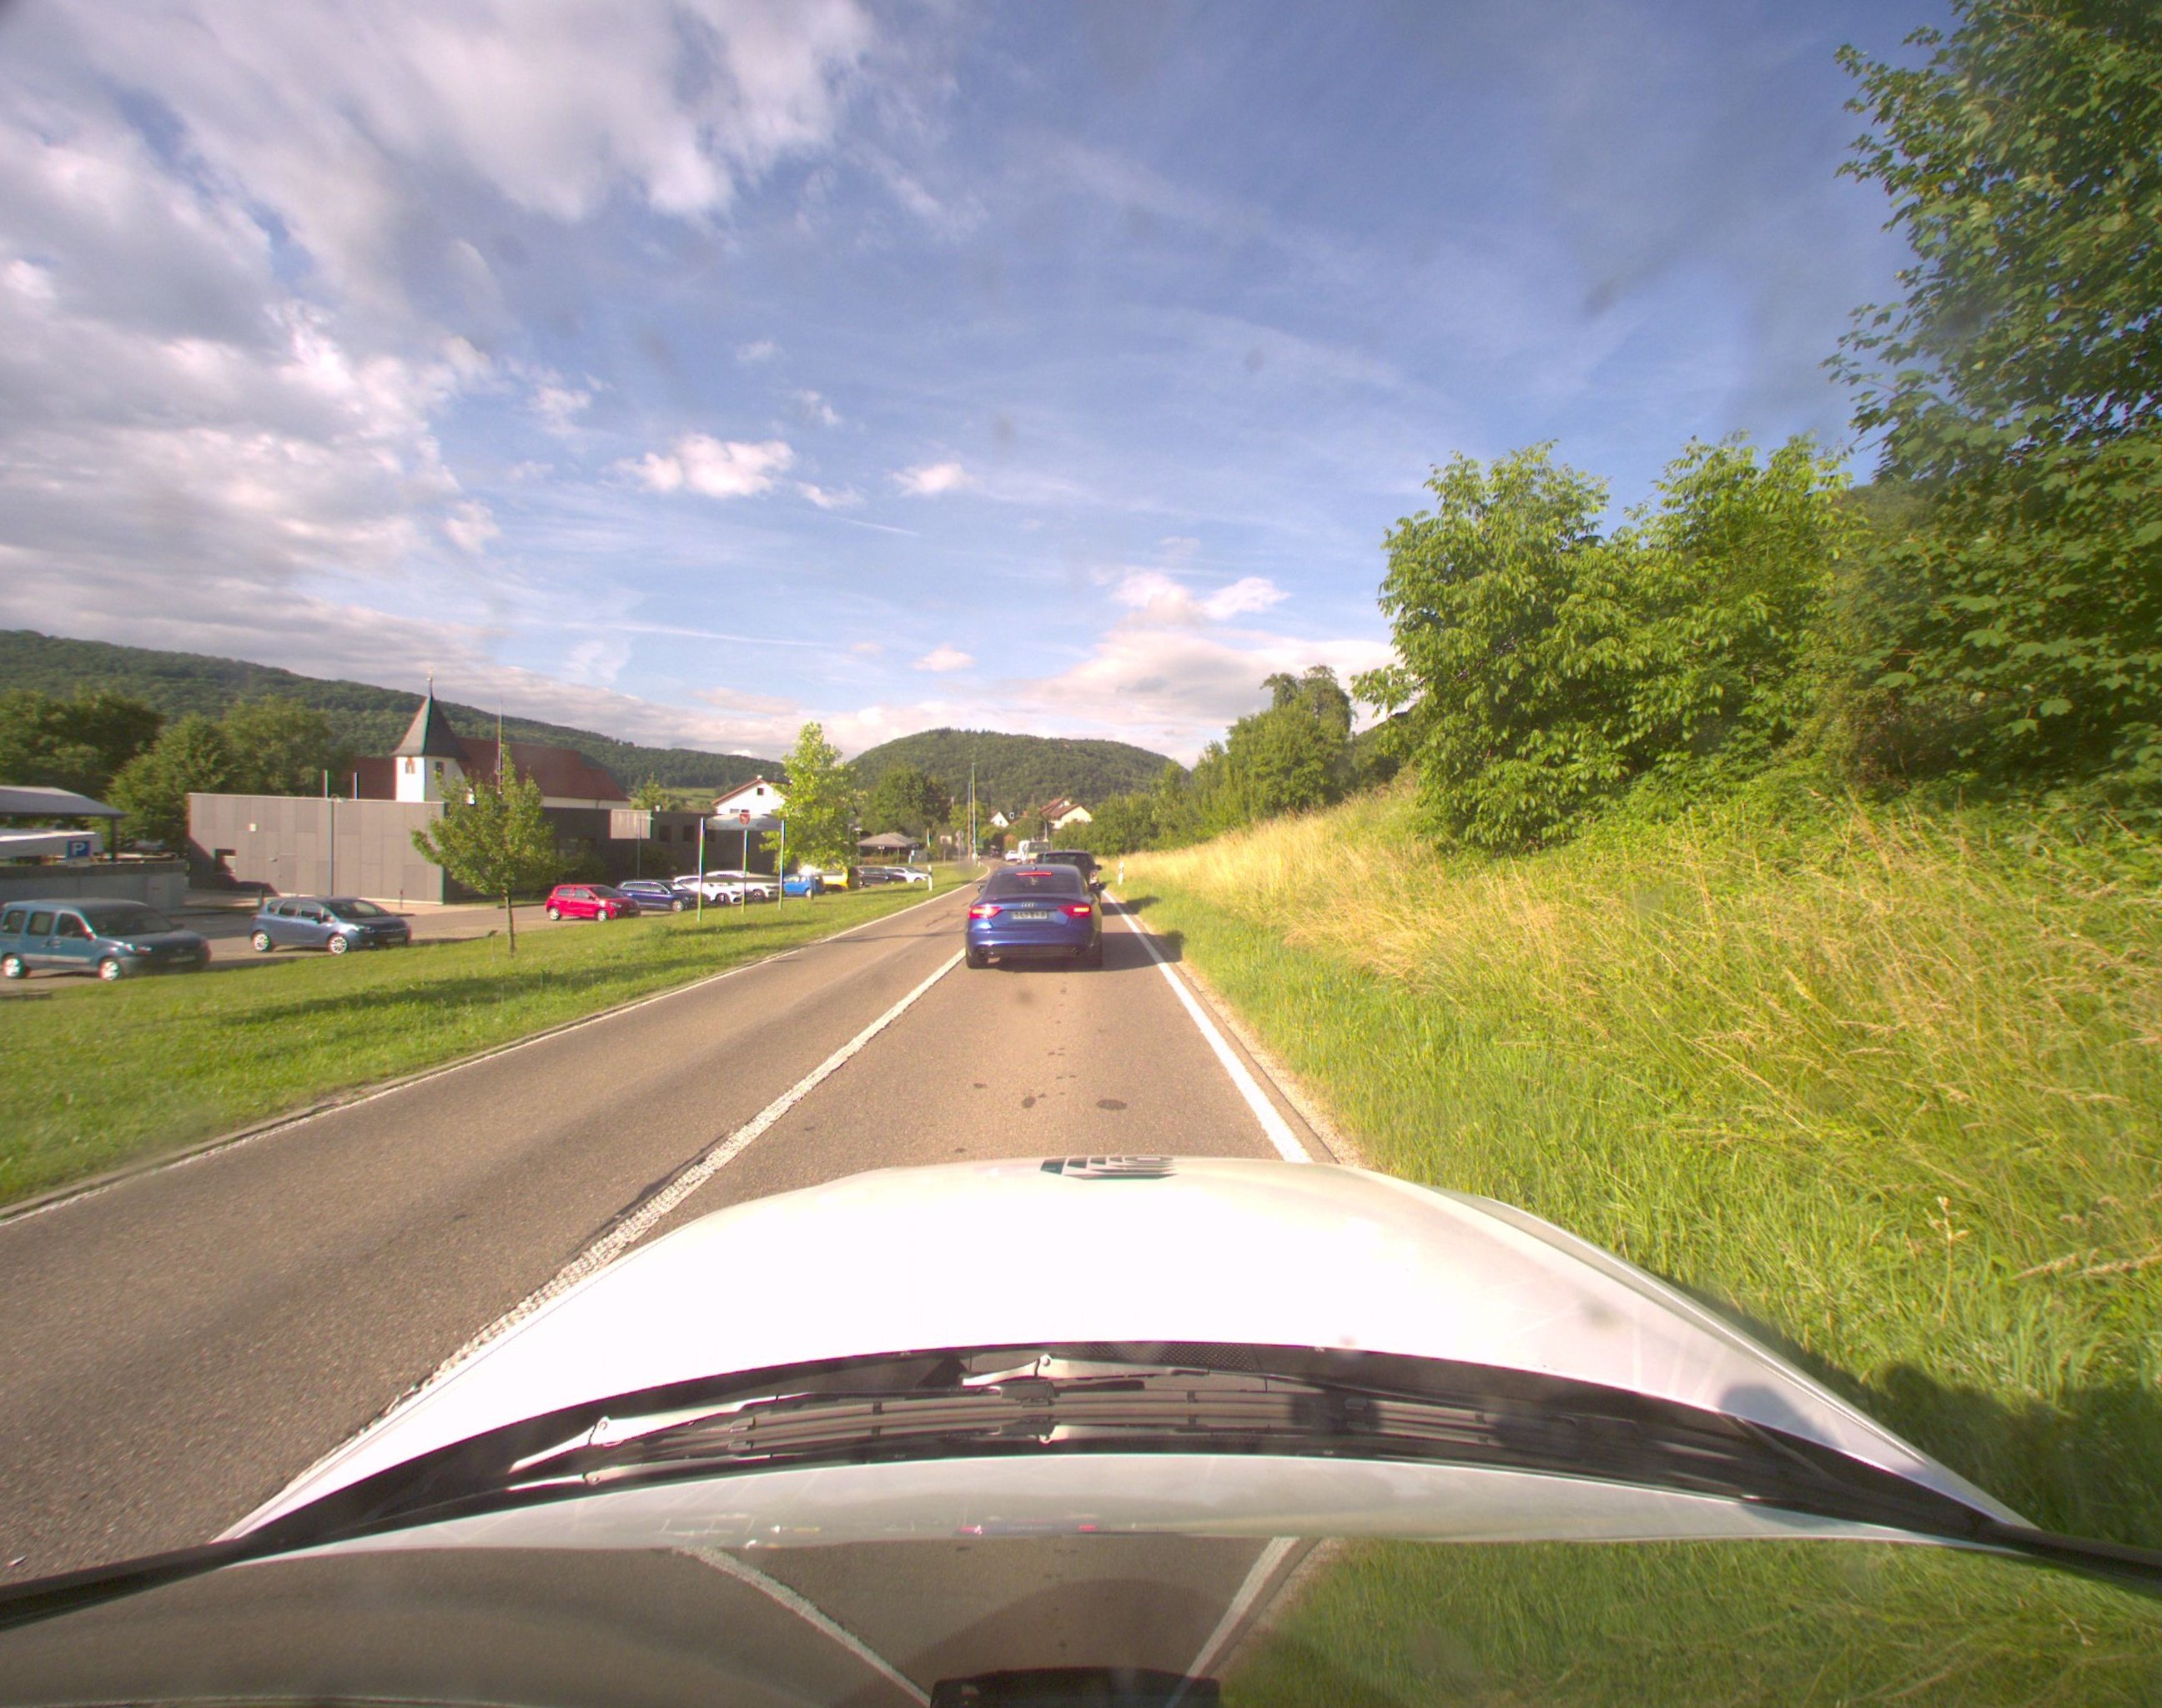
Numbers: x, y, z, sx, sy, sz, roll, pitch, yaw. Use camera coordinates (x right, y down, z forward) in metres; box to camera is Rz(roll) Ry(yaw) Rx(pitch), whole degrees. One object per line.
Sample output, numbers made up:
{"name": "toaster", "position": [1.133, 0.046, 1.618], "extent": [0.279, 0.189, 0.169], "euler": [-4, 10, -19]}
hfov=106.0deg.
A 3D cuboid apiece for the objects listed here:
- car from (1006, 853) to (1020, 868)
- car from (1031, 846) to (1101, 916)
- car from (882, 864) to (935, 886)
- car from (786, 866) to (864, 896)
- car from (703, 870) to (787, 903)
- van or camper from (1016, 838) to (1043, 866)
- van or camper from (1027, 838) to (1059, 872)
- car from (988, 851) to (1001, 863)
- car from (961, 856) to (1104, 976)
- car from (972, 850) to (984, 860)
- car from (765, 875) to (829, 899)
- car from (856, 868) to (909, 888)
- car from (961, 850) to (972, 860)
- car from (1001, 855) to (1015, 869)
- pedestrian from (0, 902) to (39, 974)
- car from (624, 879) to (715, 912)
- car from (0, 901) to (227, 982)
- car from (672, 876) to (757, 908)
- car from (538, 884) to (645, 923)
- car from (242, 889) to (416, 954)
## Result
{"name": "car", "position": [-8.963, 0.827, 106.690], "extent": [1.658, 1.924, 3.990], "euler": [-2, 0, -7]}
{"name": "car", "position": [-0.393, 0.638, 20.806], "extent": [1.641, 1.625, 3.514], "euler": [0, 0, -2]}
{"name": "car", "position": [-14.451, 1.753, 68.293], "extent": [4.010, 1.660, 1.660], "euler": [-2, 0, 10]}
{"name": "car", "position": [-16.946, 1.756, 53.891], "extent": [4.524, 1.815, 1.846], "euler": [-2, 0, 10]}
{"name": "car", "position": [-18.705, 1.782, 45.360], "extent": [4.051, 1.673, 1.601], "euler": [-2, 0, 10]}
{"name": "van or camper", "position": [-5.289, -0.137, 83.055], "extent": [2.279, 2.714, 5.752], "euler": [-2, 0, -7]}
{"name": "van or camper", "position": [-3.070, 0.098, 64.338], "extent": [2.050, 2.505, 5.797], "euler": [-2, 0, -7]}
{"name": "car", "position": [-14.676, 0.575, 138.722], "extent": [1.679, 1.924, 3.982], "euler": [-2, 0, -13]}
{"name": "car", "position": [-0.623, 0.770, 11.753], "extent": [1.737, 1.450, 3.515], "euler": [-1, 0, -1]}
{"name": "car", "position": [-19.908, 0.221, 157.338], "extent": [1.680, 1.924, 3.978], "euler": [-2, 0, -16]}
{"name": "car", "position": [-17.864, 2.070, 51.358], "extent": [3.355, 1.373, 1.661], "euler": [-2, 0, 3]}
{"name": "car", "position": [-15.535, 1.906, 63.846], "extent": [3.689, 1.439, 1.514], "euler": [-2, 0, 10]}
{"name": "car", "position": [-24.176, 0.276, 171.398], "extent": [1.681, 1.924, 3.976], "euler": [-2, 0, -17]}
{"name": "car", "position": [-10.344, 1.079, 115.048], "extent": [1.659, 1.924, 3.986], "euler": [-2, 0, -10]}
{"name": "pedestrian", "position": [-26.335, 2.037, 19.932], "extent": [0.790, 1.693, 0.706], "euler": [0, -1, 7]}
{"name": "car", "position": [-19.593, 1.977, 38.831], "extent": [3.601, 1.405, 1.601], "euler": [-2, 1, 10]}
{"name": "car", "position": [-22.947, 2.013, 19.313], "extent": [3.840, 1.722, 1.759], "euler": [0, 0, 7]}
{"name": "car", "position": [-18.904, 1.950, 42.041], "extent": [3.643, 1.493, 1.601], "euler": [-2, 0, 10]}
{"name": "car", "position": [-20.347, 2.026, 33.920], "extent": [3.602, 1.444, 1.653], "euler": [0, 1, 10]}
{"name": "car", "position": [-21.965, 1.961, 23.854], "extent": [3.795, 1.722, 1.737], "euler": [-1, -1, 9]}
